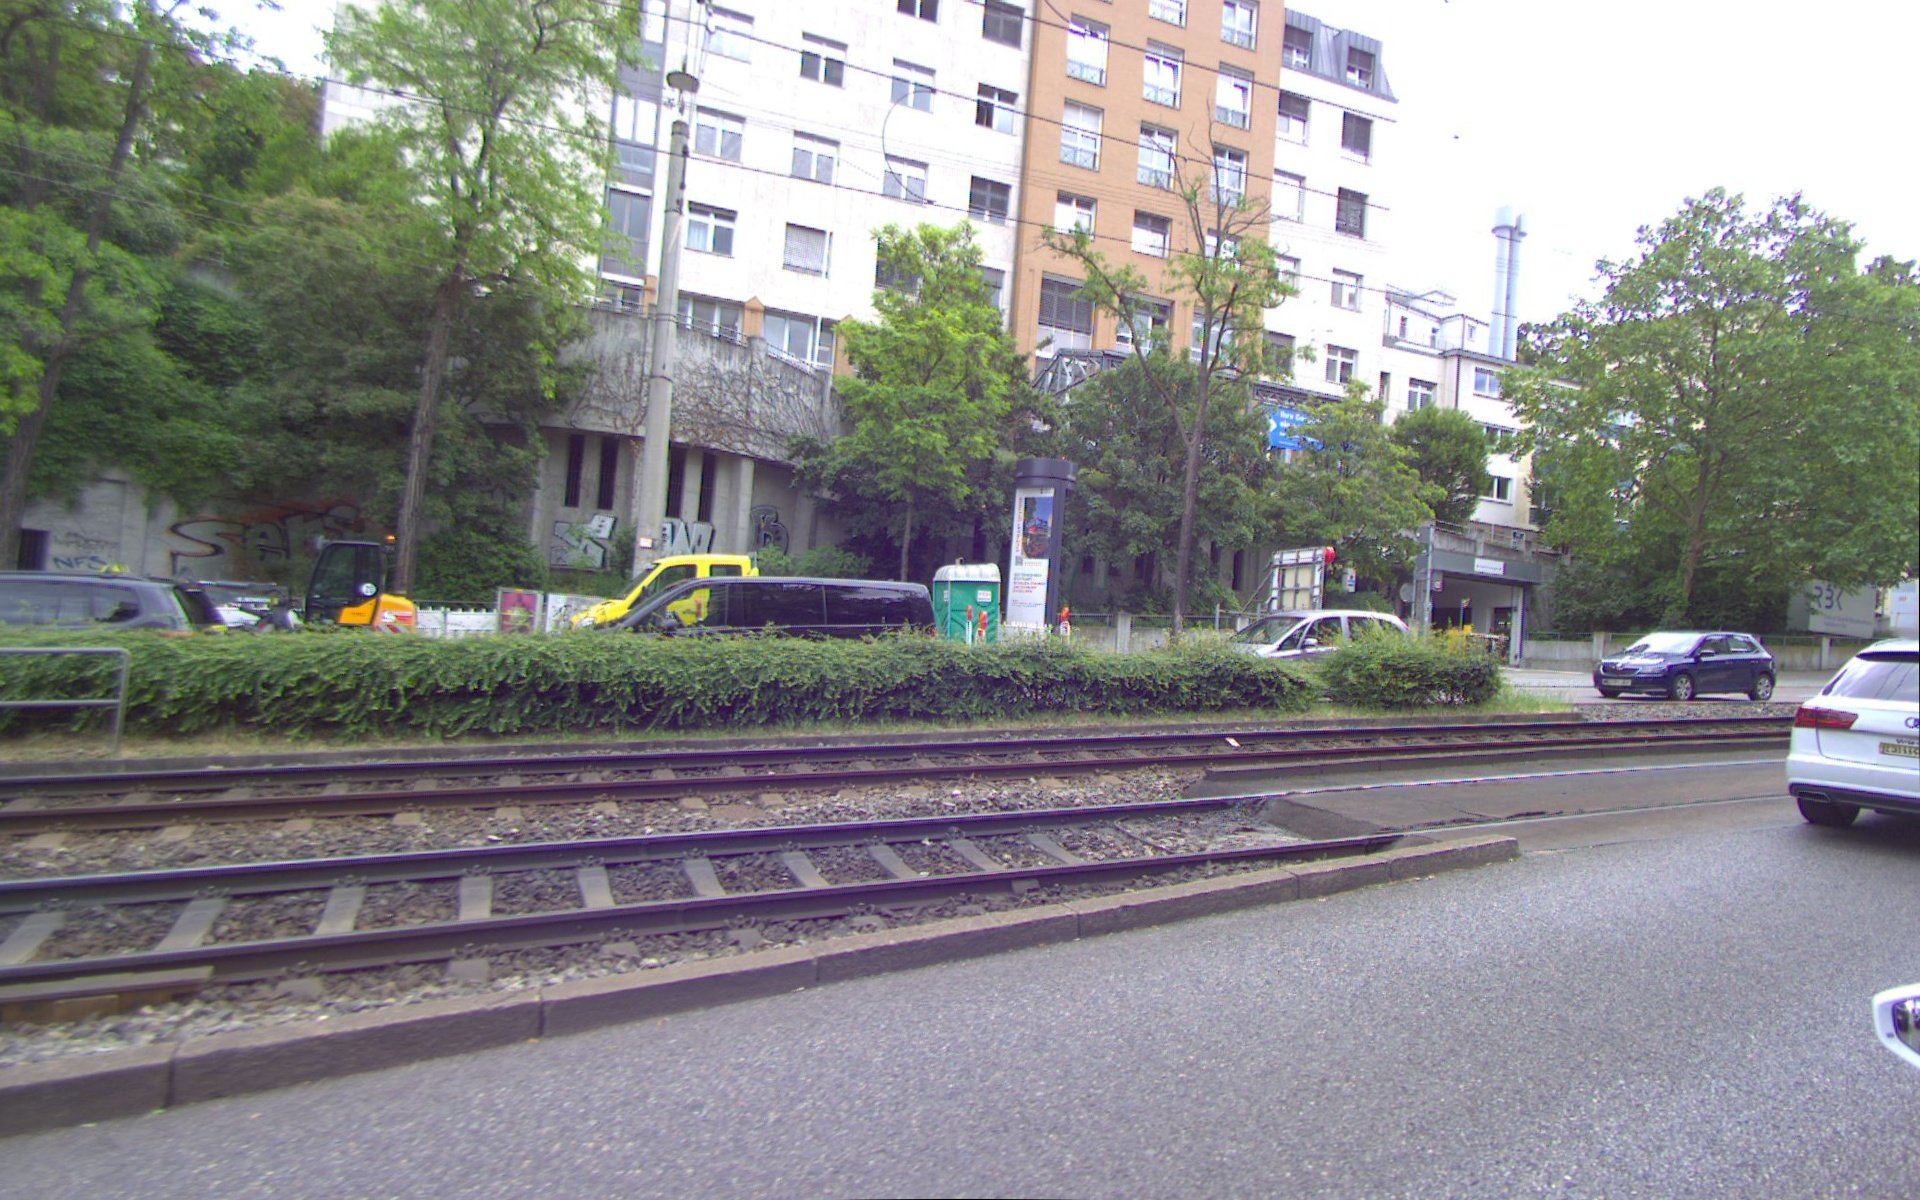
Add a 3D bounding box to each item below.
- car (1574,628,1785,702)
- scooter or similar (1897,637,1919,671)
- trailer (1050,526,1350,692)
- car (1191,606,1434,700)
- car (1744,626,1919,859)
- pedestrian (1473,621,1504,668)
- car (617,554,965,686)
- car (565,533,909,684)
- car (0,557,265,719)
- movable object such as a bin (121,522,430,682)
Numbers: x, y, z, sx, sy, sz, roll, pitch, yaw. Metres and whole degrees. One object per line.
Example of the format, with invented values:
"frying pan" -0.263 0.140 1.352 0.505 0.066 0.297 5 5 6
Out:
"car" 15.153 1.335 21.152 4.023 1.426 1.763 2 -1 -22
"scooter or similar" 35.856 2.034 37.873 1.628 1.235 0.485 3 1 -40
"trailer" 4.773 0.220 20.065 5.500 3.013 2.018 2 1 -17
"car" 5.982 0.887 17.119 3.681 1.462 1.658 1 -1 -19
"car" 8.084 0.982 7.686 4.566 1.474 1.868 2 -1 -32
"pedestrian" 21.970 1.838 41.773 0.781 1.936 0.811 1 -1 -18
"car" -2.393 0.318 14.079 4.539 1.626 1.991 1 -1 -20
"car" -4.303 0.245 19.575 6.242 2.628 2.153 2 -1 -21
"car" -10.483 0.388 10.809 4.553 1.626 1.990 2 -1 -23
"movable object such as a bin" -11.587 0.052 17.381 4.037 2.501 1.929 1 1 -21
